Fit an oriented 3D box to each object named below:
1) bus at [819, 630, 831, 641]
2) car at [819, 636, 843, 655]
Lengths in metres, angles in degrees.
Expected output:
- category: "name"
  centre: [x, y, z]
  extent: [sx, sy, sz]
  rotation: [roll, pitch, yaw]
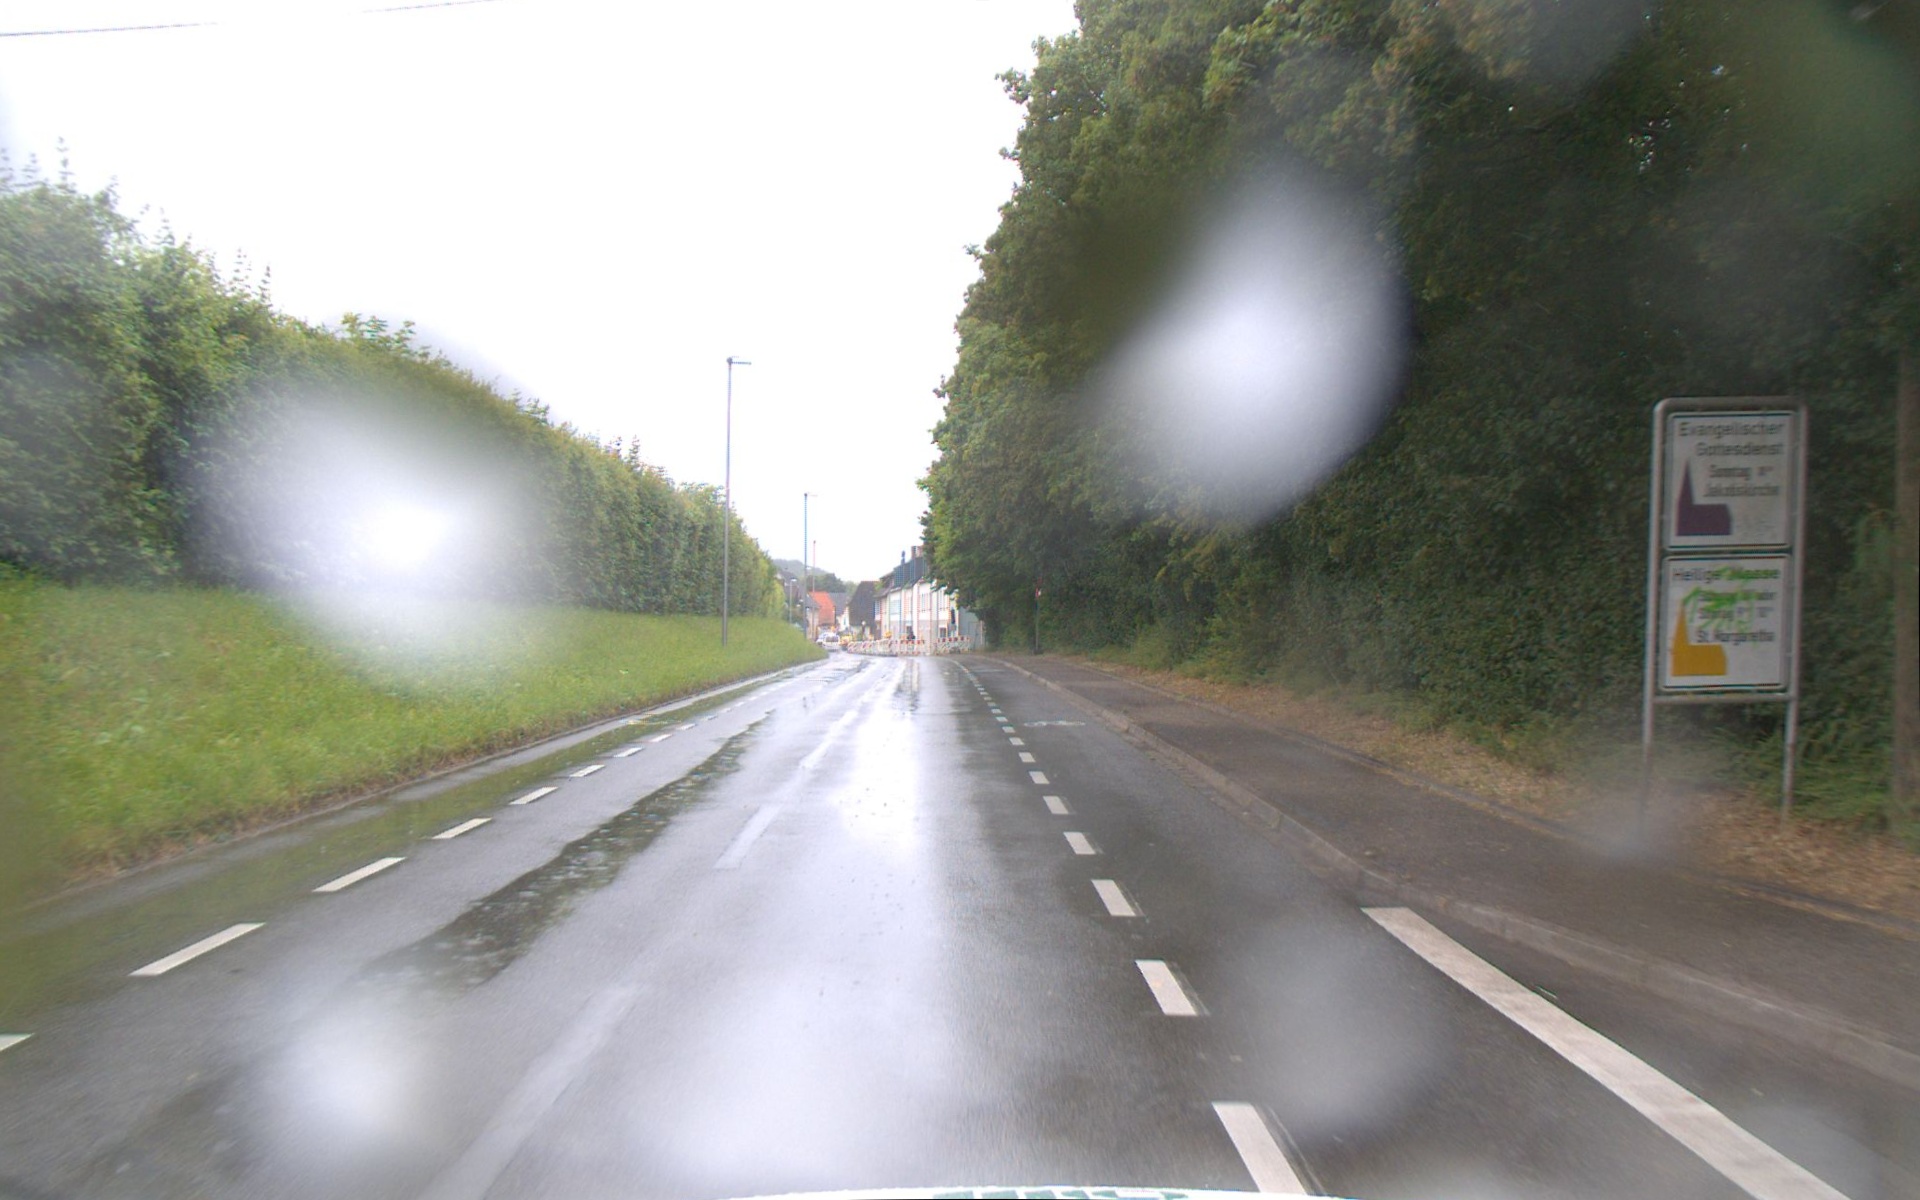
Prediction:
- category: "bus"
  centre: [-20.405, 5.329, 250.037]
  extent: [1.759, 1.434, 3.997]
  rotation: [3, 0, -4]
- category: "car"
  centre: [-12.731, 4.459, 163.301]
  extent: [1.957, 1.639, 3.990]
  rotation: [3, 0, -10]
